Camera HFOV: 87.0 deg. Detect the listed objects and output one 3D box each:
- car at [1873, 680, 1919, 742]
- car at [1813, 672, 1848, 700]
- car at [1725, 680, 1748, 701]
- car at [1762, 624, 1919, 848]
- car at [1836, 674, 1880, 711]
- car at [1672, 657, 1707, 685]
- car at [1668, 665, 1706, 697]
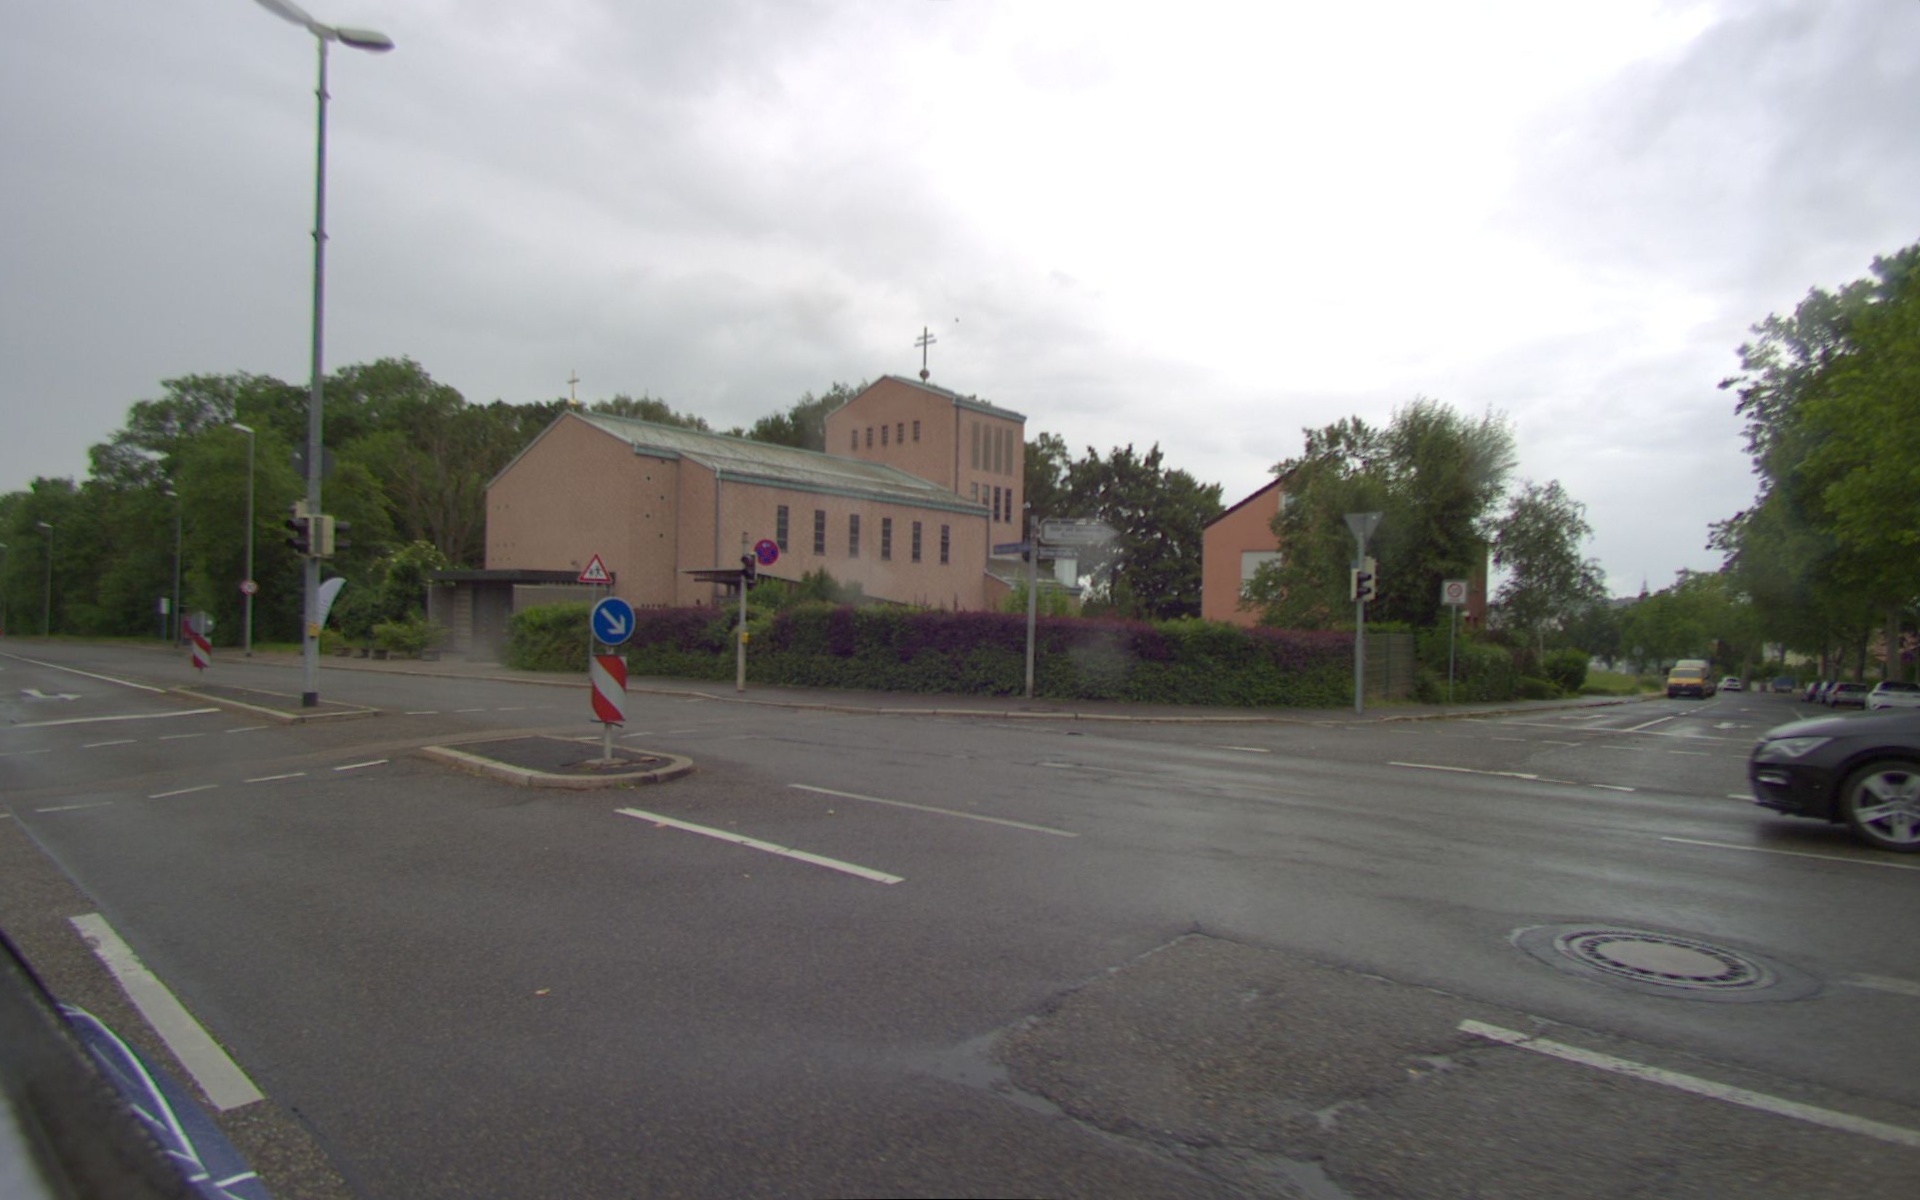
[{"bbox_3d":[34.464,4.003,36.786,1.709,1.822,3.635,-1,0,40],"label":"car"},{"bbox_3d":[56.909,5.597,66.167,1.659,1.428,3.635,-1,0,40],"label":"car"},{"bbox_3d":[89.782,10.396,117.043,1.997,2.029,3.950,-1,0,37],"label":"car"},{"bbox_3d":[7.894,0.849,6.338,4.412,1.438,1.889,-3,-3,40],"label":"car"},{"bbox_3d":[49.370,5.067,55.678,1.709,1.641,3.635,-1,0,40],"label":"car"},{"bbox_3d":[51.633,4.980,71.611,1.709,1.641,3.635,-1,0,40],"label":"car"},{"bbox_3d":[46.075,5.113,64.119,1.709,1.641,3.635,-1,0,40],"label":"car"}]
